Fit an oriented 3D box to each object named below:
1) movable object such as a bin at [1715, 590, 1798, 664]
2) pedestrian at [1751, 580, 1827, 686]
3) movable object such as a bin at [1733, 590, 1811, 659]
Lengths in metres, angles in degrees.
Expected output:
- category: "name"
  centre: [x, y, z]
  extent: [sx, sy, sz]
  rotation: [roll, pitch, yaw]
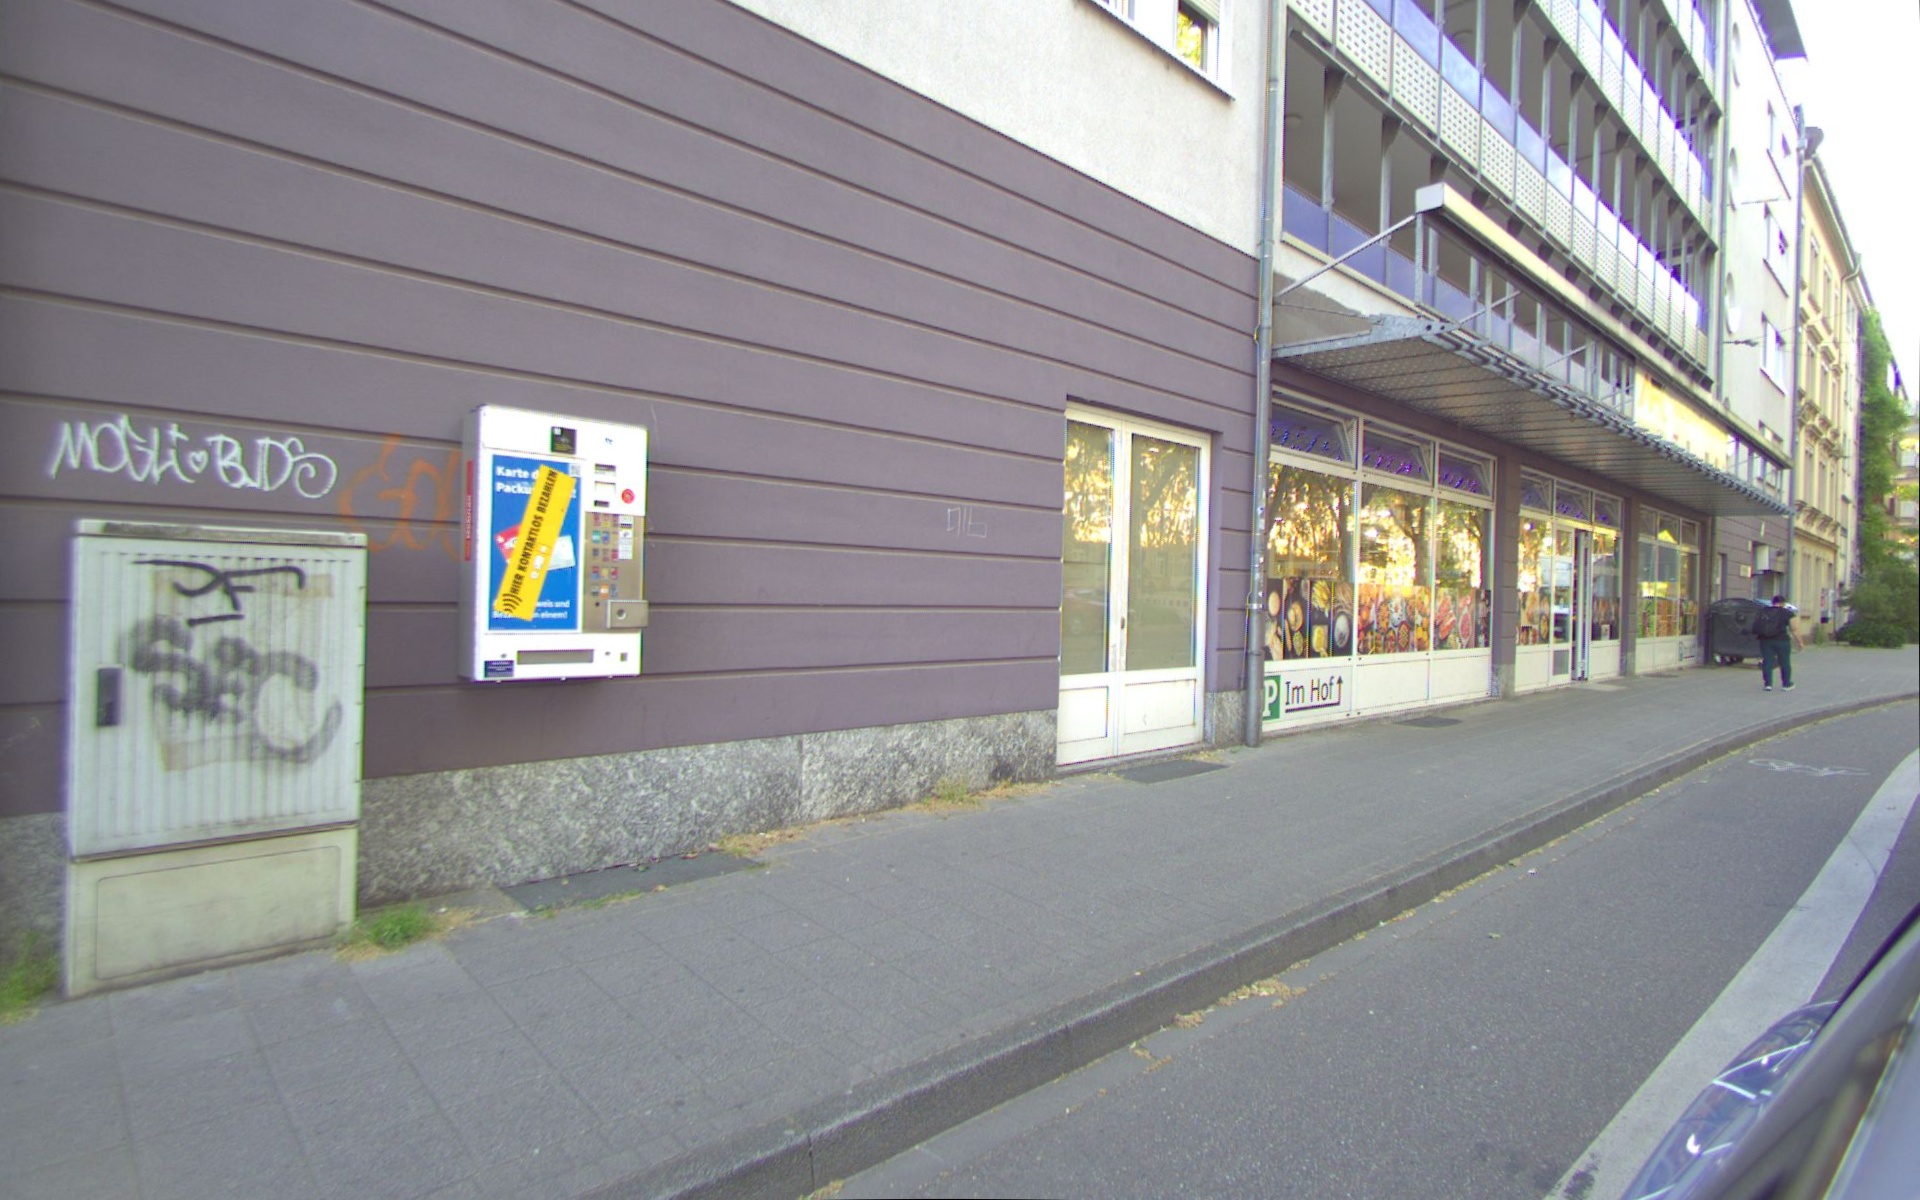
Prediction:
- category: "movable object such as a bin"
  centre: [16.333, 0.539, 20.760]
  extent: [0.923, 1.444, 1.158]
  rotation: [1, 1, -40]
- category: "pedestrian"
  centre: [13.100, 0.505, 16.002]
  extent: [0.862, 1.612, 0.613]
  rotation: [2, 1, 44]
- category: "movable object such as a bin"
  centre: [17.776, 0.516, 22.153]
  extent: [0.923, 1.444, 1.158]
  rotation: [1, 1, -40]
